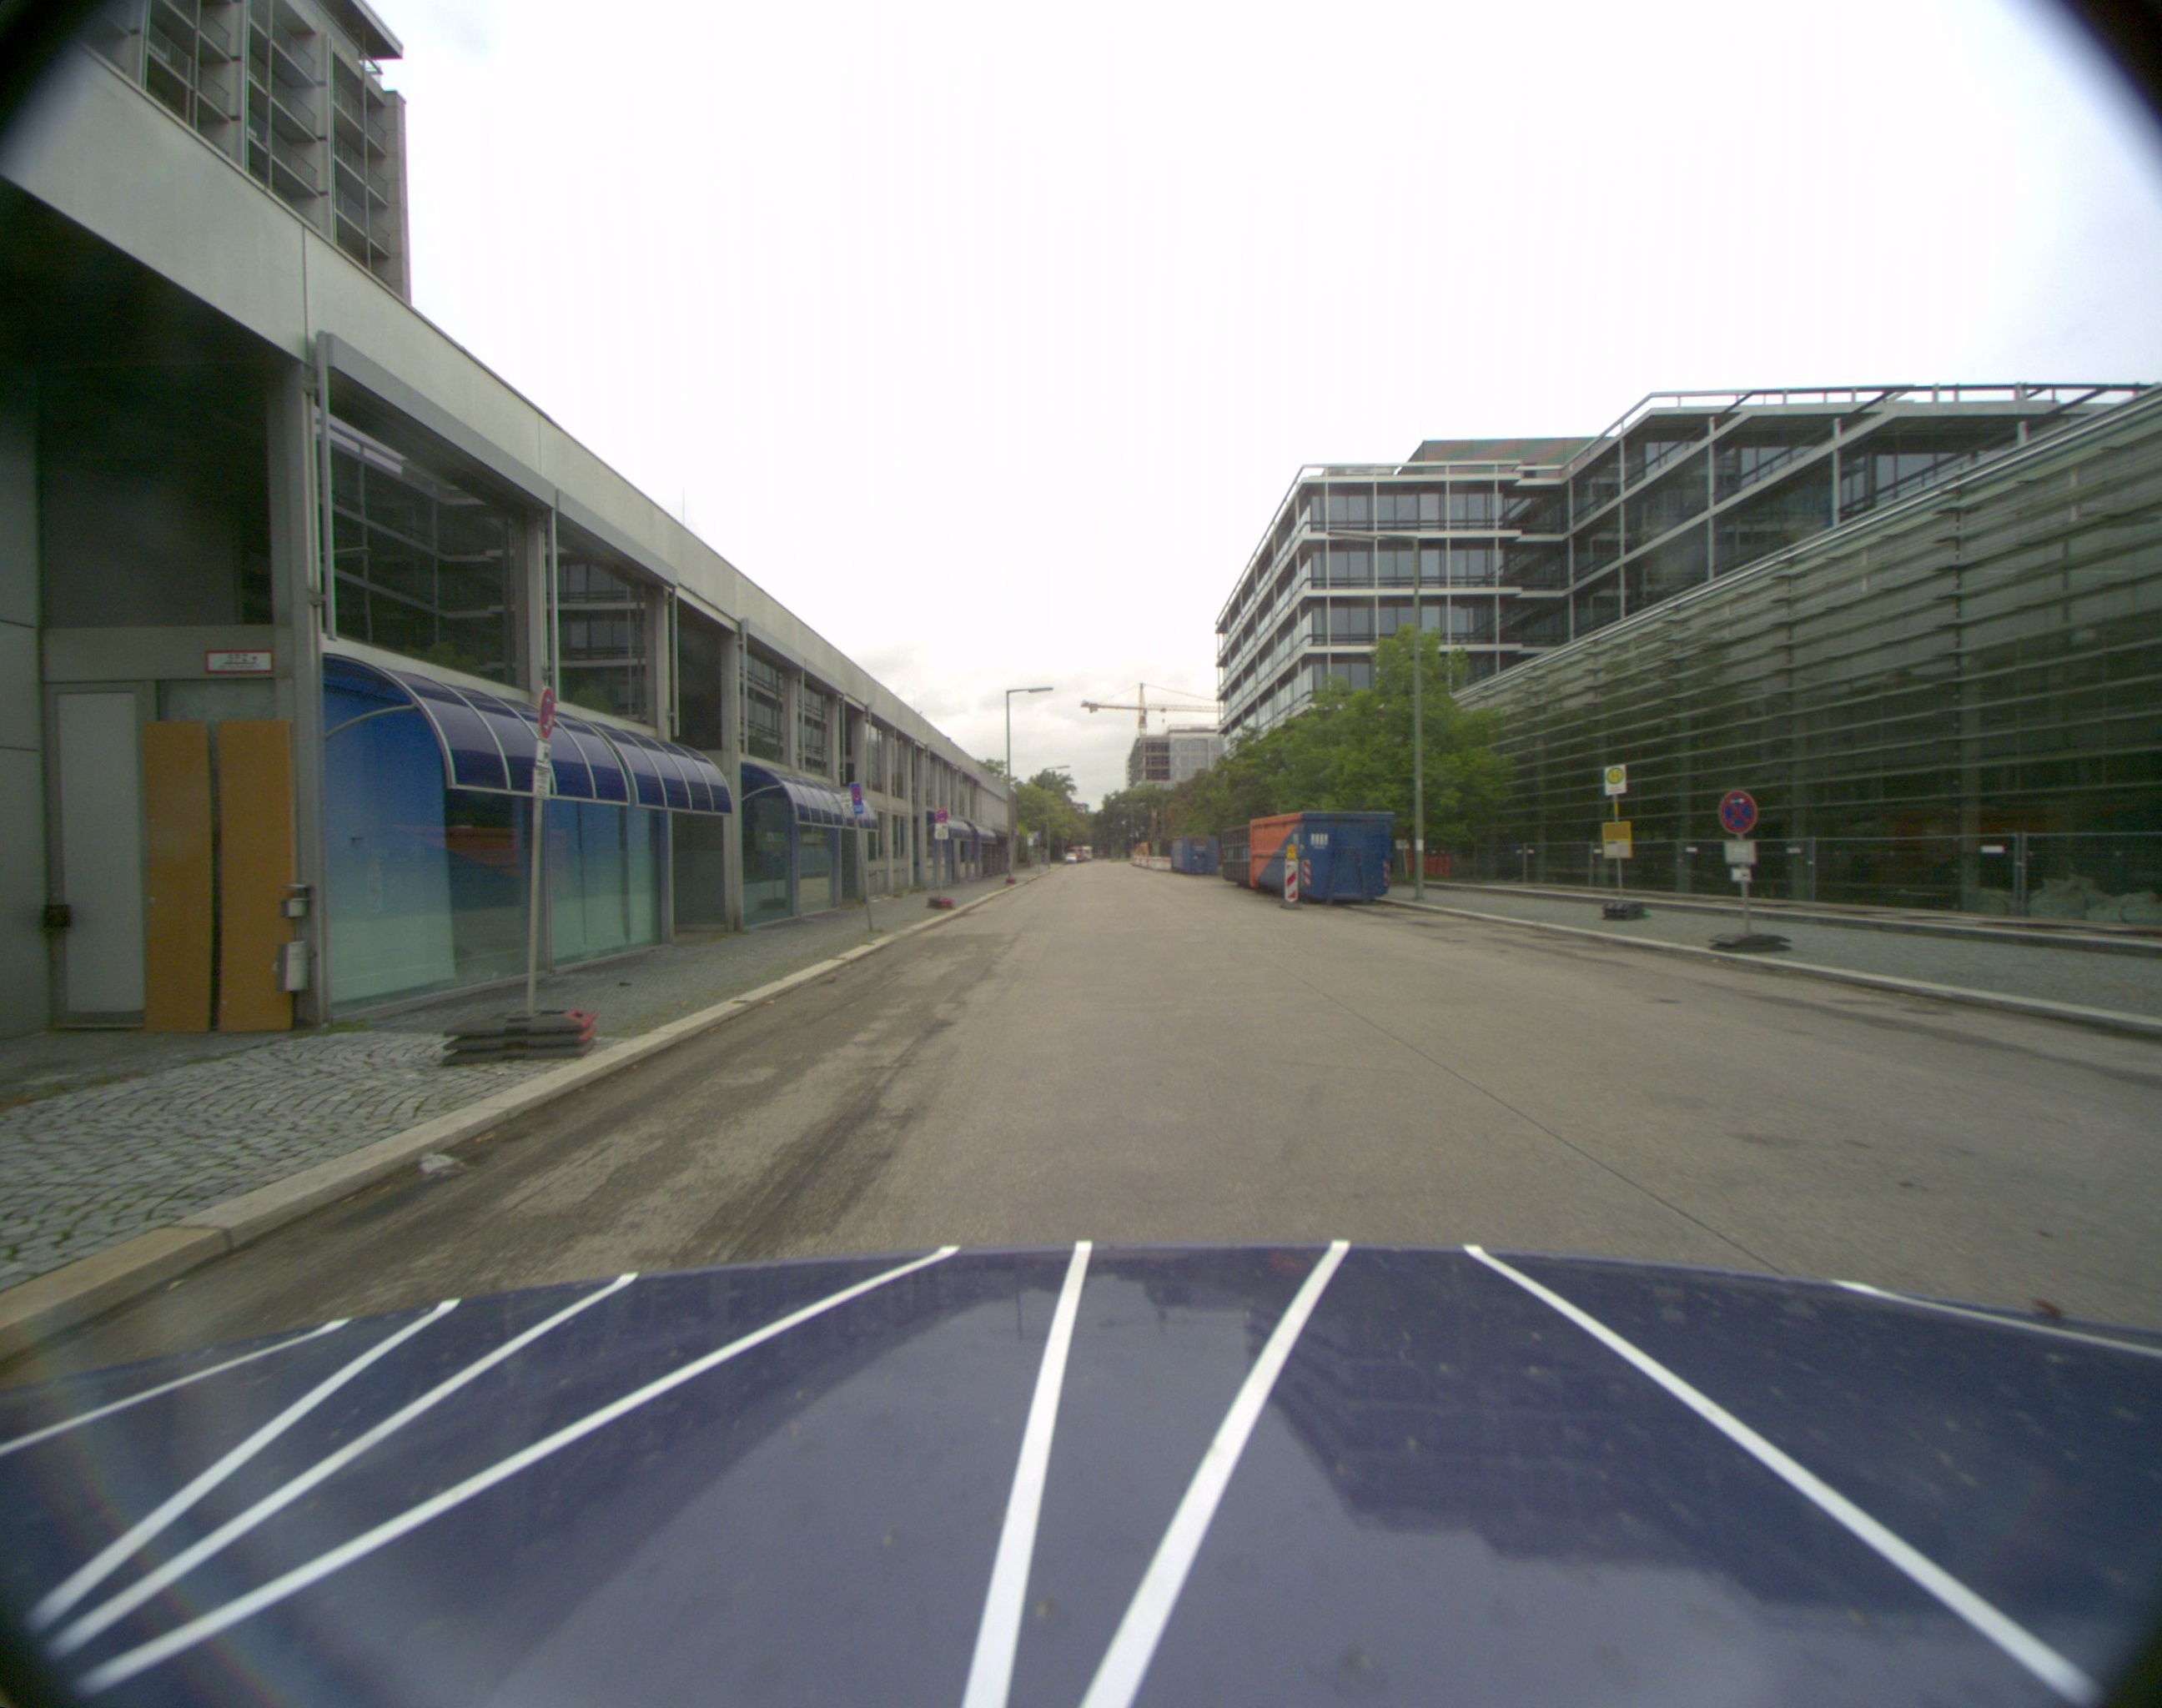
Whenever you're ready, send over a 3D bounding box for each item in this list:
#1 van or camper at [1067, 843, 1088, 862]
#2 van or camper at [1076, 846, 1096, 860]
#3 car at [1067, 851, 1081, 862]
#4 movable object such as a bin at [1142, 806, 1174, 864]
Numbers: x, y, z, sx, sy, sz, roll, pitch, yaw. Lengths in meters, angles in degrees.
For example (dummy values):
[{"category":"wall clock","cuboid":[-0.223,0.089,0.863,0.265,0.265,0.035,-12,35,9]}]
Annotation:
[{"category":"van or camper","cuboid":[-0.508,-0.251,119.845,2.666,2.751,6.916,-1,0,4]},{"category":"van or camper","cuboid":[0.944,-0.243,134.128,2.665,2.436,6.448,-1,0,7]},{"category":"car","cuboid":[-1.001,0.363,113.582,1.912,1.627,4.000,-1,0,3]},{"category":"movable object such as a bin","cuboid":[8.785,-2.122,87.420,3.241,6.286,8.337,-1,1,3]}]
